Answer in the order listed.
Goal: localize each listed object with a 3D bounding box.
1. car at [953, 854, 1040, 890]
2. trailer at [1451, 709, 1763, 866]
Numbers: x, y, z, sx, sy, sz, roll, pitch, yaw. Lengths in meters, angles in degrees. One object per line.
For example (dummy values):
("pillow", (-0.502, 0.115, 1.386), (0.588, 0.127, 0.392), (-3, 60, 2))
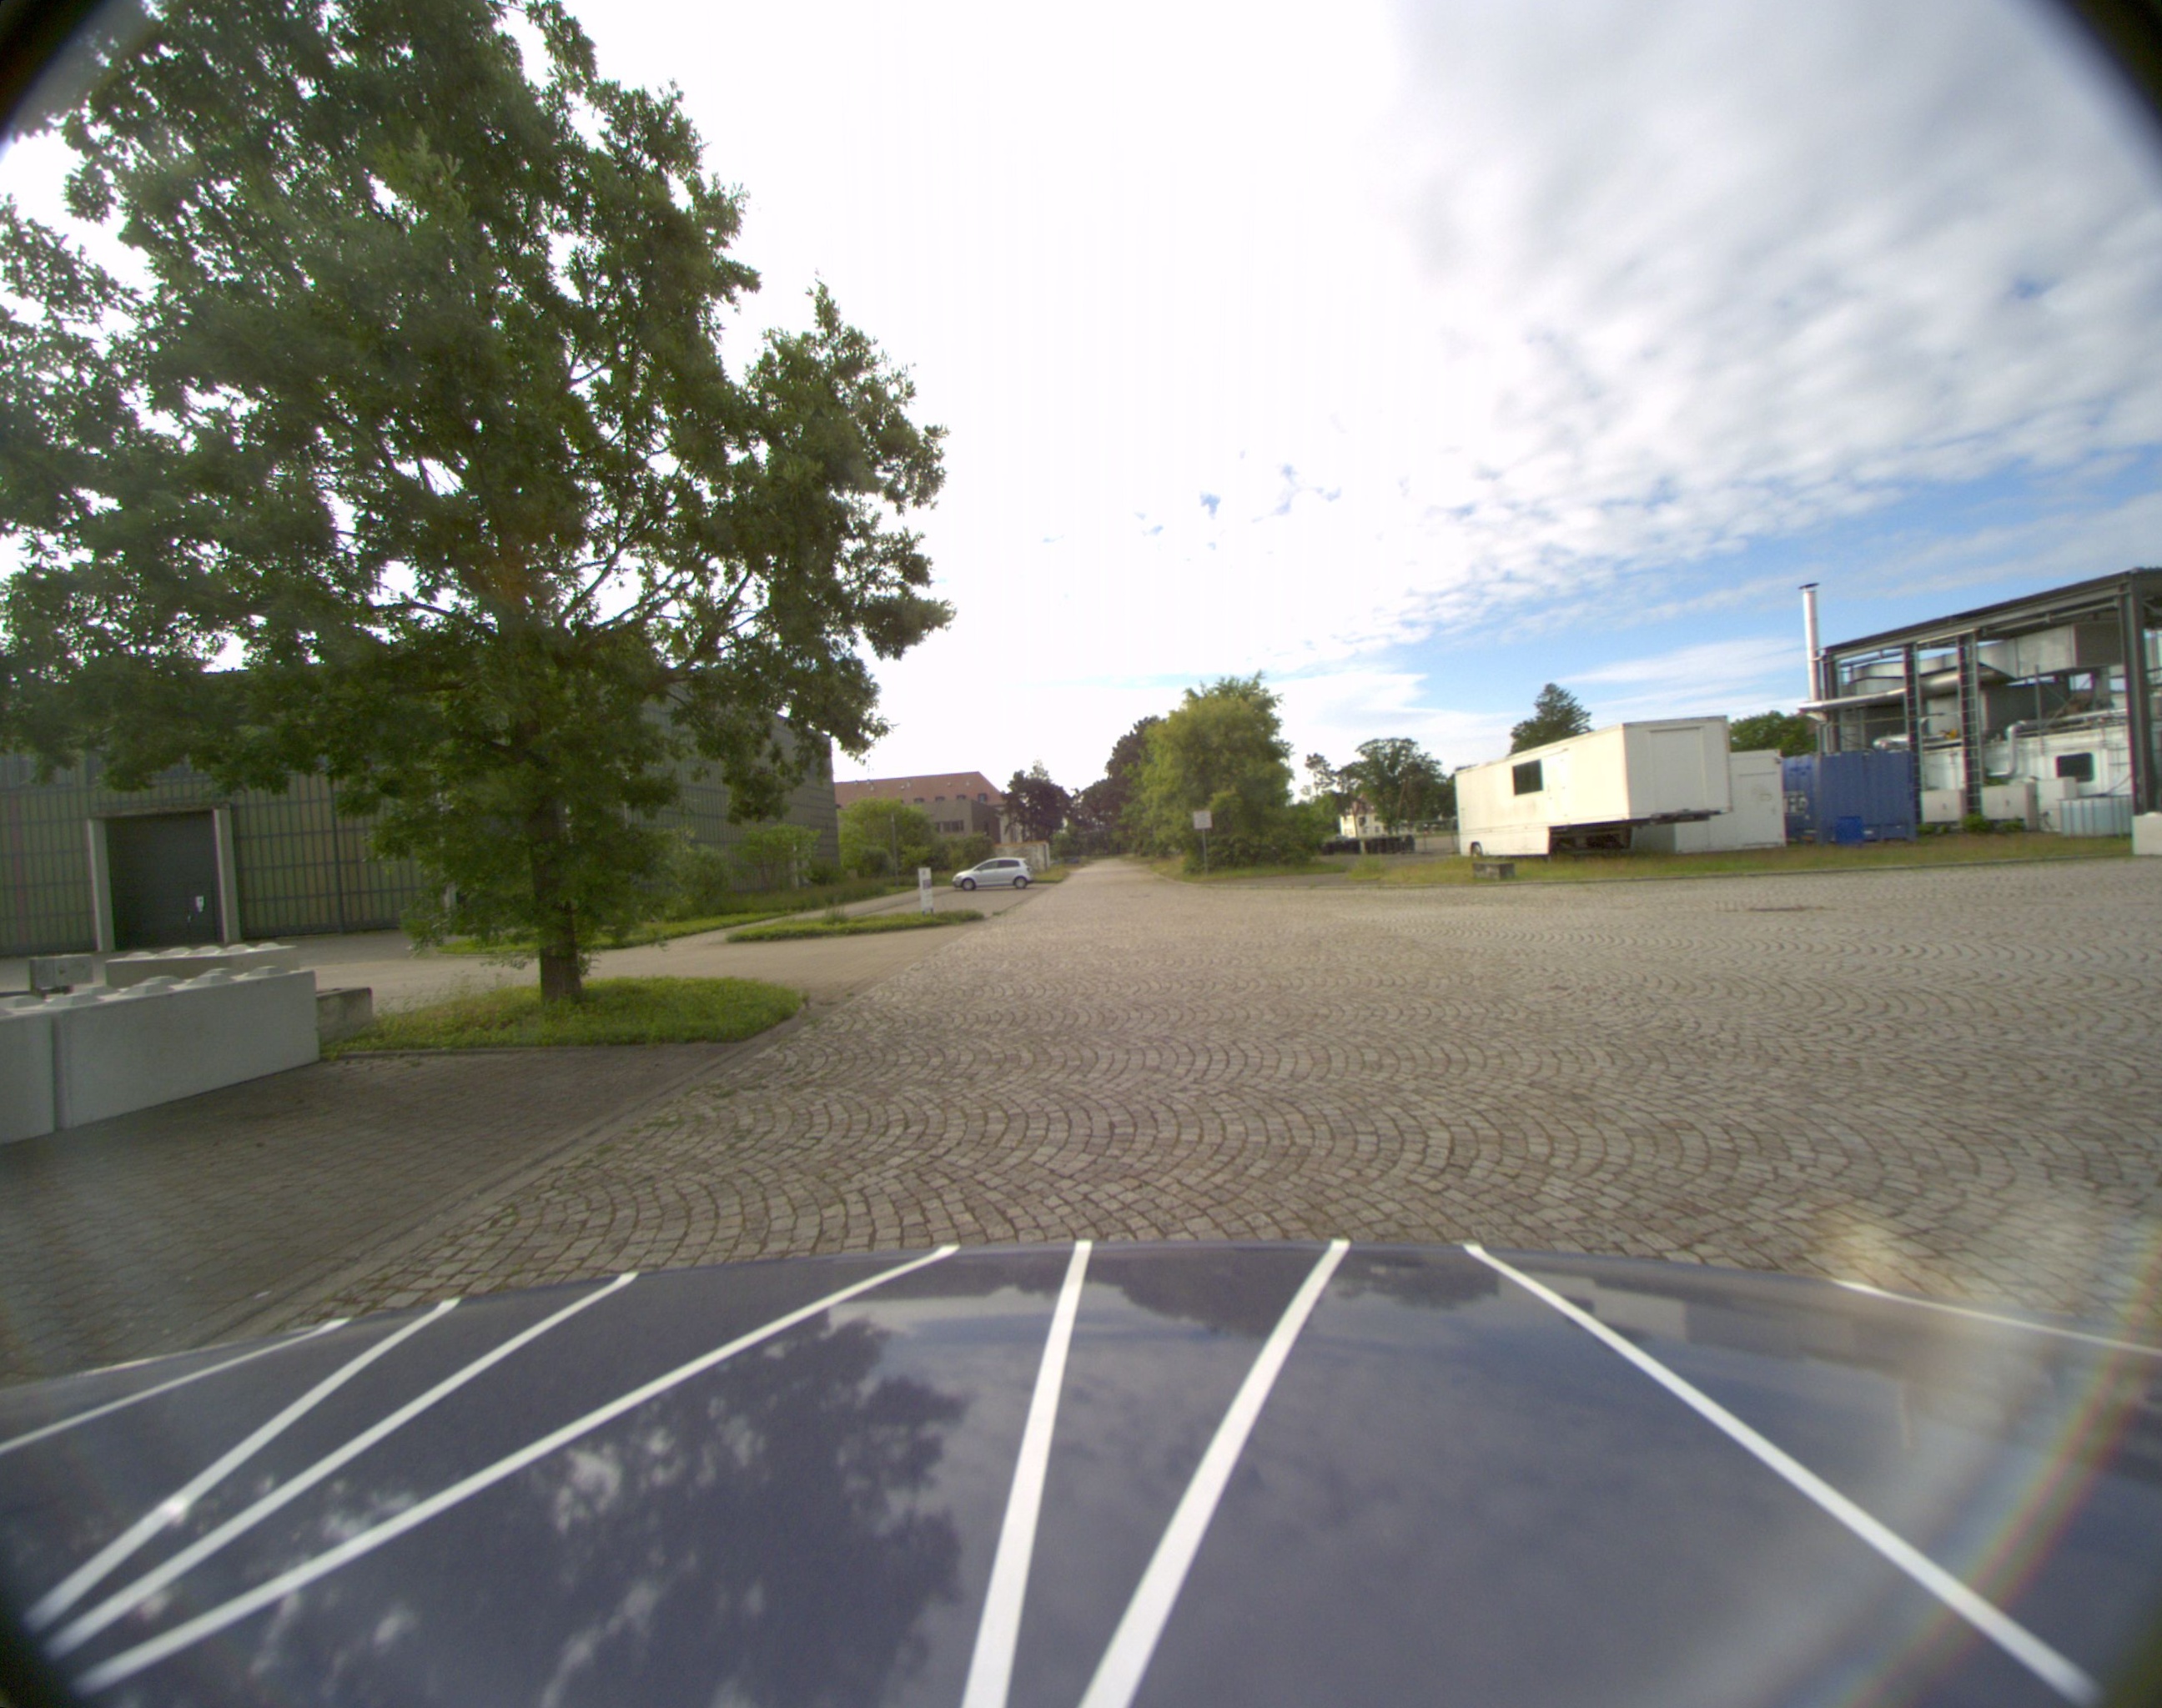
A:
("car", (-4.225, 0.907, 38.519), (4.131, 1.615, 1.939), (-2, 1, 0))
("trailer", (15.500, -1.660, 23.994), (2.875, 3.641, 10.780), (-4, 0, 4))
